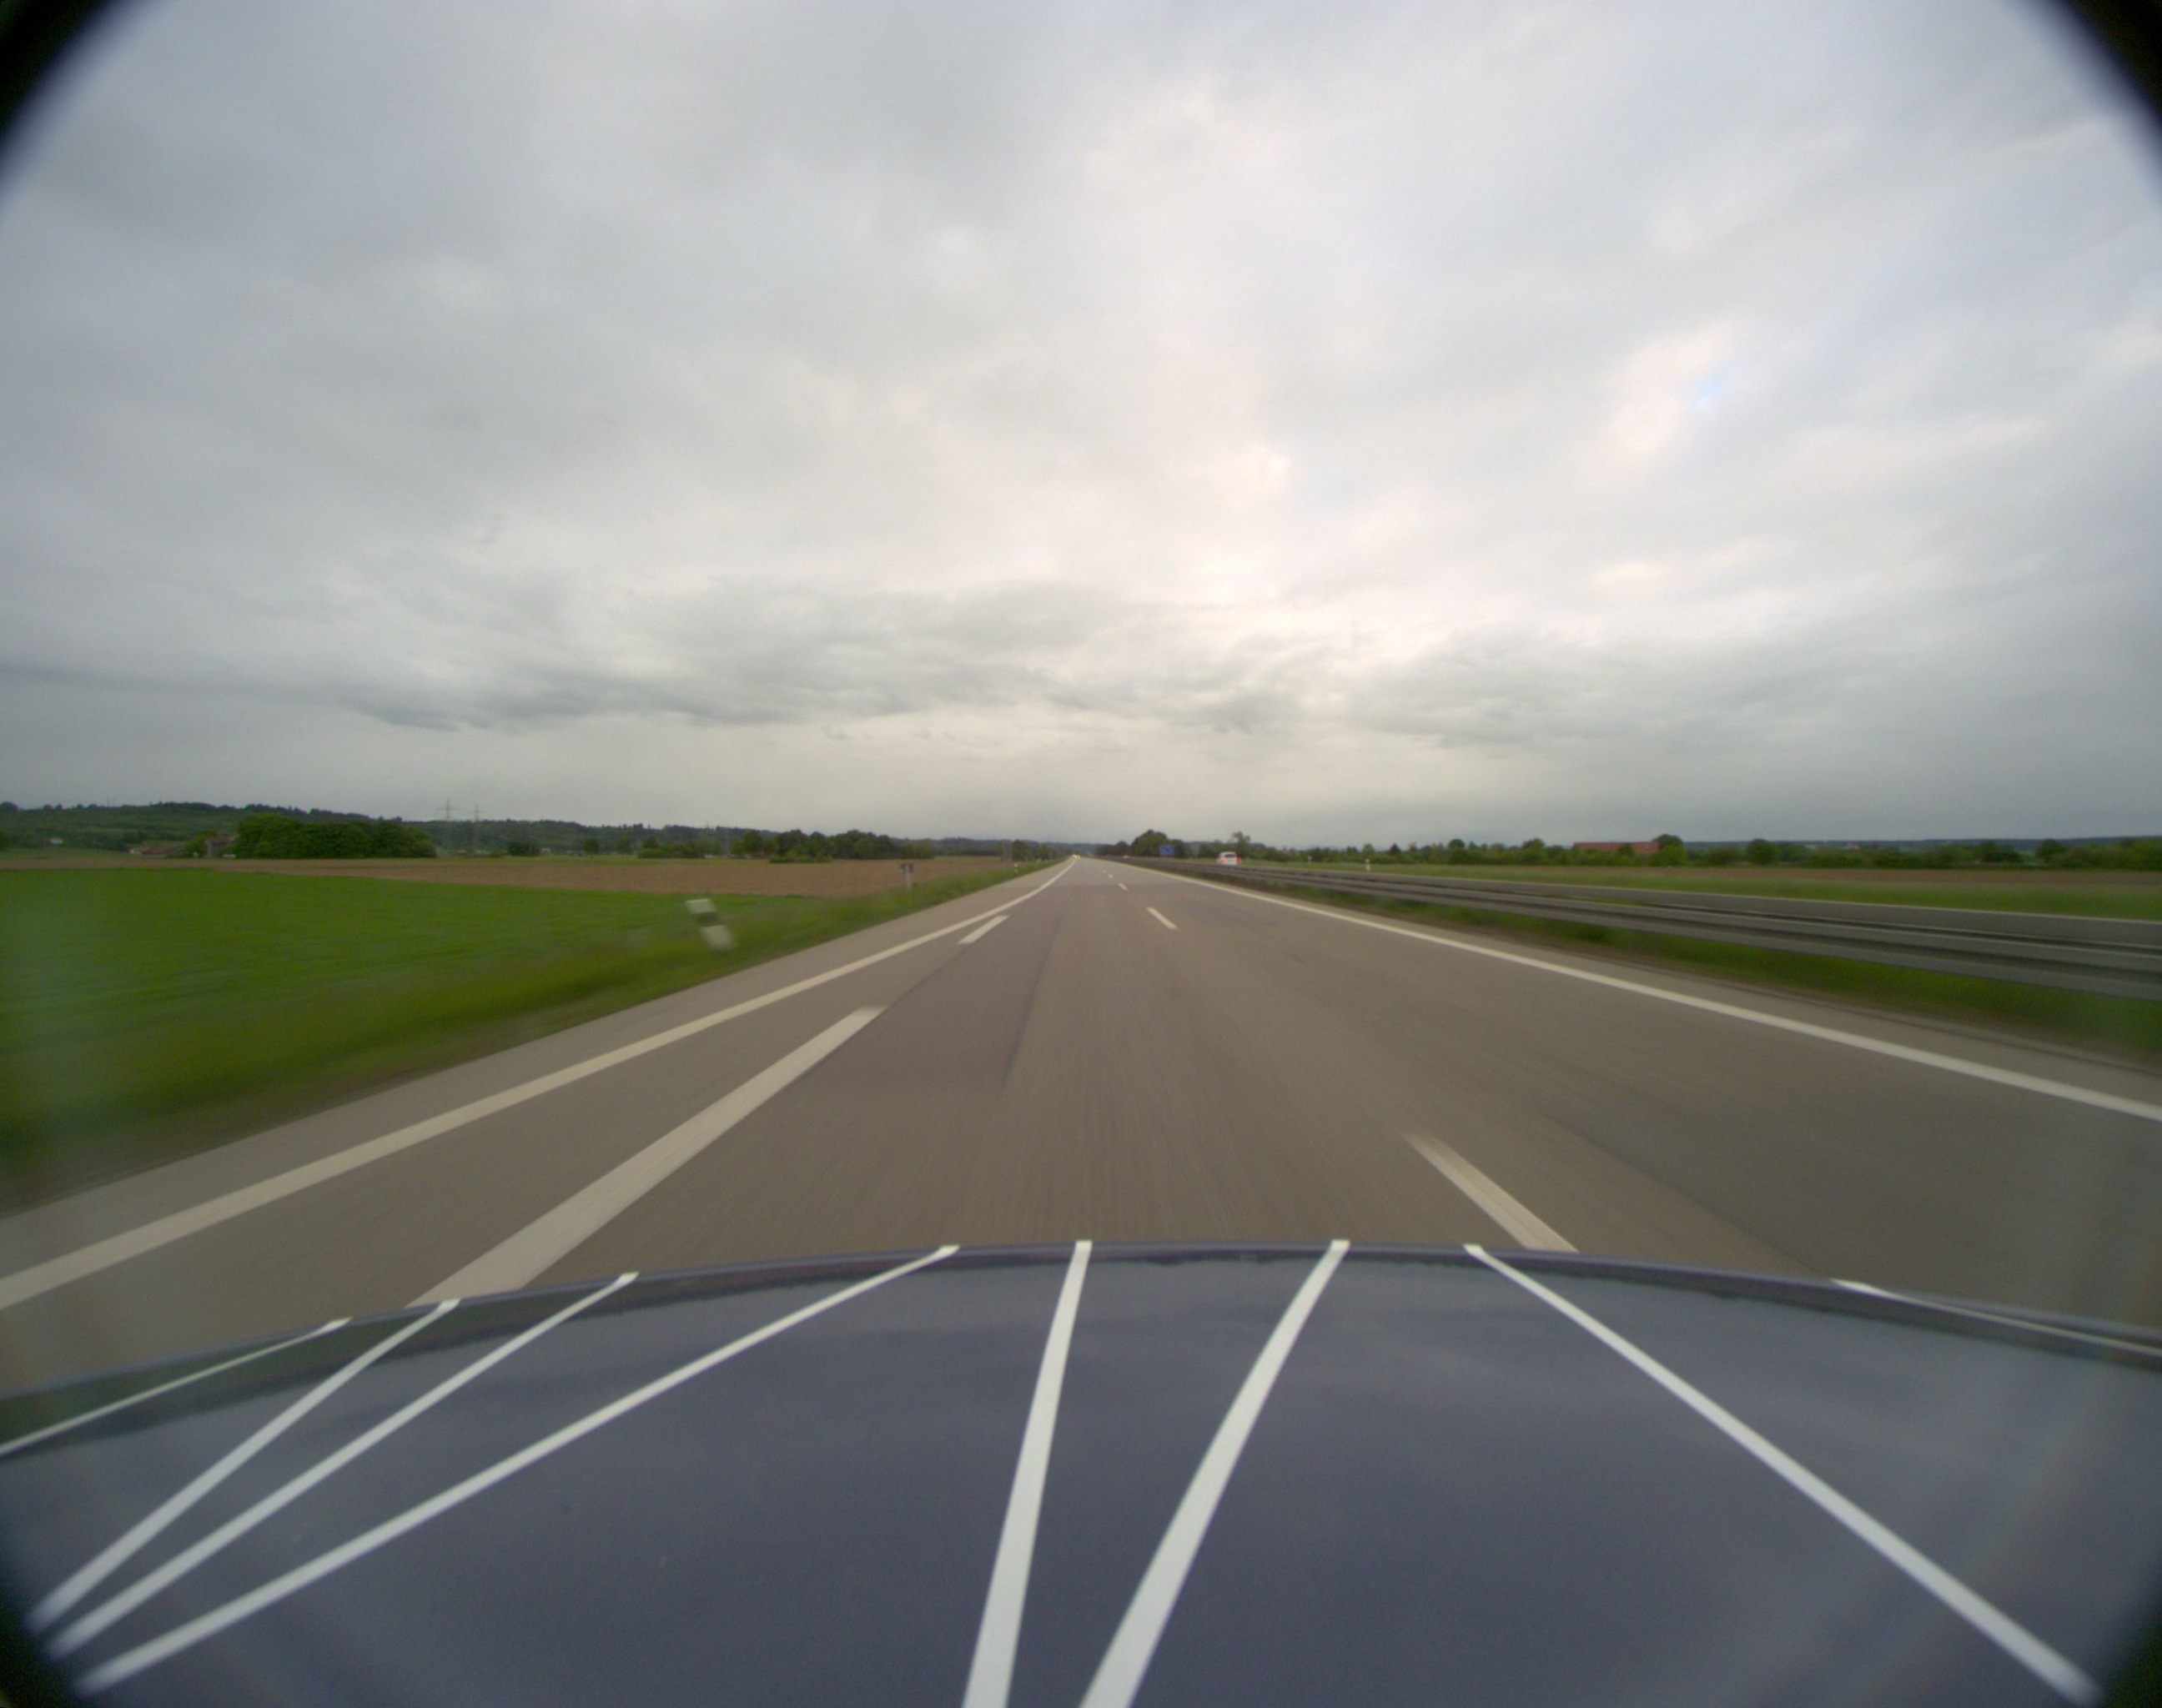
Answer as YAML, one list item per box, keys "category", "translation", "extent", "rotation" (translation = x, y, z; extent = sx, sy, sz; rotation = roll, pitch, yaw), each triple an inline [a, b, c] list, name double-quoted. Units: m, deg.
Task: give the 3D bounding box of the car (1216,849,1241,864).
- category: "car"
  translation: [17.883, 0.311, 92.180]
  extent: [1.998, 1.755, 4.951]
  rotation: [-2, 0, 0]
